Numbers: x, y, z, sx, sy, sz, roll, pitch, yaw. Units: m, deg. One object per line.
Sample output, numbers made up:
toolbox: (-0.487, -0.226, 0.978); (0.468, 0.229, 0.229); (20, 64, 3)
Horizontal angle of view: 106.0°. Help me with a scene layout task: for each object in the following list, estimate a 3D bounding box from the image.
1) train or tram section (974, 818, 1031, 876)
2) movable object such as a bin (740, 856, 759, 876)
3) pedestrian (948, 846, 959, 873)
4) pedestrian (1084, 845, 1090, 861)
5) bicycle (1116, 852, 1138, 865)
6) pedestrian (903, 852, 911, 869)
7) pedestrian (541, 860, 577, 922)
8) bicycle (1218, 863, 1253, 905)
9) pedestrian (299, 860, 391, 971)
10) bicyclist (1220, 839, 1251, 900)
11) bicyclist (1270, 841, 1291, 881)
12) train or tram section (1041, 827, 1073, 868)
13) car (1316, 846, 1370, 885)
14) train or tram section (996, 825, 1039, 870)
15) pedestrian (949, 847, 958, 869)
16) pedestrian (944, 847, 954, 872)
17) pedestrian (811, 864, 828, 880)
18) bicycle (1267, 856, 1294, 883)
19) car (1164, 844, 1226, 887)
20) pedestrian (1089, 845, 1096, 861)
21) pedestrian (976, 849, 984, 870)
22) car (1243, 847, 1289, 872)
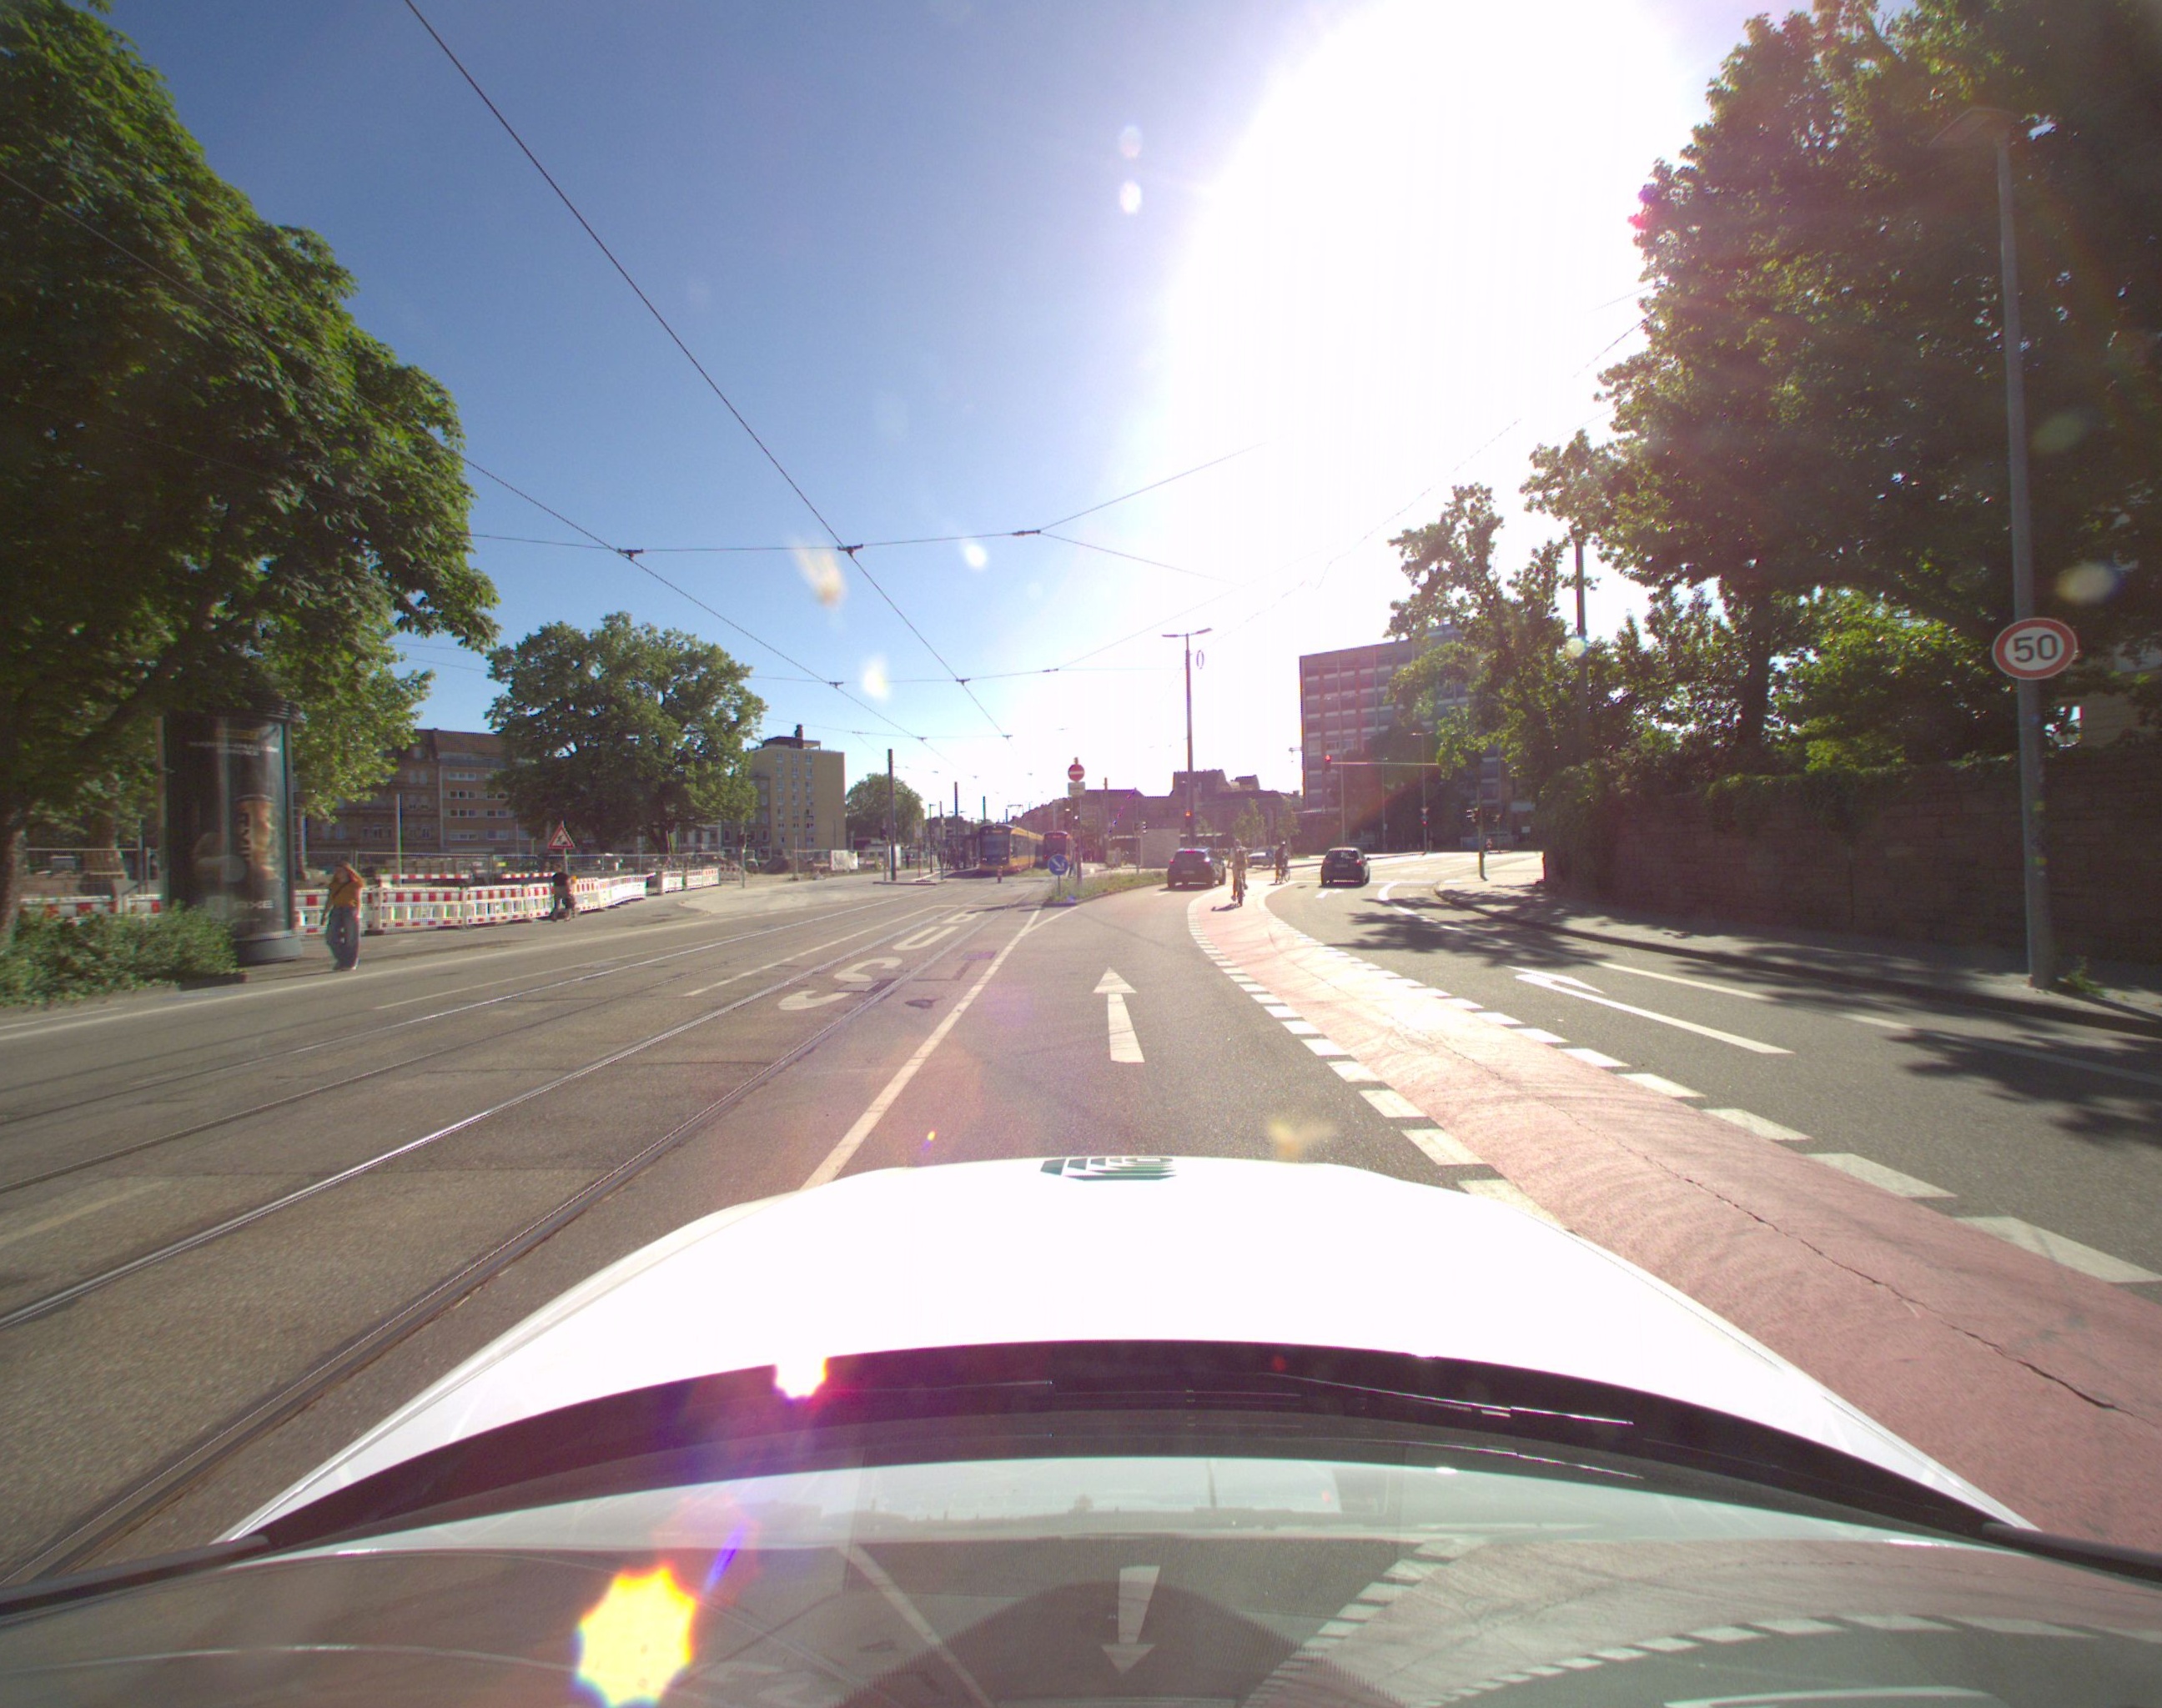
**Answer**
train or tram section: (-5.479, -0.487, 59.267); (2.733, 3.651, 13.783); (-1, 0, 0)
movable object such as a bin: (-36.626, 1.315, 89.984); (1.926, 2.013, 3.970); (-1, 0, -22)
pedestrian: (-8.761, 0.344, 55.824); (0.624, 1.827, 0.662); (-1, 0, -1)
pedestrian: (0.720, -0.144, 99.582); (0.660, 1.953, 0.626); (-1, 0, -12)
bicycle: (4.265, 0.433, 75.330); (1.929, 1.103, 0.598); (-1, 0, -2)
pedestrian: (-17.782, 0.636, 83.286); (0.624, 1.697, 0.662); (-1, 0, -1)
pedestrian: (-14.709, 1.024, 22.949); (0.619, 1.697, 0.676); (-1, 0, -12)
bicycle: (4.378, 0.822, 23.029); (0.699, 1.104, 1.726); (0, 1, 20)
pedestrian: (-11.811, 0.958, 13.091); (0.633, 1.697, 0.820); (-3, 0, 4)
bicyclist: (4.375, 0.432, 23.015); (0.699, 1.675, 1.107); (0, 0, 20)
bicyclist: (8.618, 0.276, 35.207); (0.698, 1.700, 0.993); (1, 1, 25)
train or tram section: (-2.238, -0.676, 80.928); (2.733, 3.651, 13.783); (-1, 0, 0)
car: (10.931, 0.430, 33.803); (1.773, 1.511, 3.733); (0, 0, 23)
train or tram section: (-5.478, -0.573, 72.430); (2.733, 3.651, 12.541); (-1, 0, 0)
pedestrian: (-10.429, 0.325, 66.607); (0.624, 1.827, 0.662); (-1, 0, -1)
pedestrian: (-9.861, 0.379, 60.825); (0.624, 1.827, 0.662); (-1, 0, -1)
pedestrian: (-18.283, 1.262, 56.914); (0.894, 1.046, 0.655); (-1, 0, 1)
bicycle: (8.691, 0.651, 35.387); (0.698, 1.055, 2.327); (1, 1, 25)
car: (4.632, 0.413, 32.648); (1.774, 1.604, 3.731); (0, 0, 19)
pedestrian: (1.384, -0.154, 100.051); (0.660, 1.953, 0.626); (-1, 0, -12)
pedestrian: (-8.874, 0.469, 71.411); (0.624, 1.827, 0.662); (-1, 0, -1)
car: (12.487, 0.357, 54.877); (1.685, 1.643, 3.736); (0, 0, 35)
